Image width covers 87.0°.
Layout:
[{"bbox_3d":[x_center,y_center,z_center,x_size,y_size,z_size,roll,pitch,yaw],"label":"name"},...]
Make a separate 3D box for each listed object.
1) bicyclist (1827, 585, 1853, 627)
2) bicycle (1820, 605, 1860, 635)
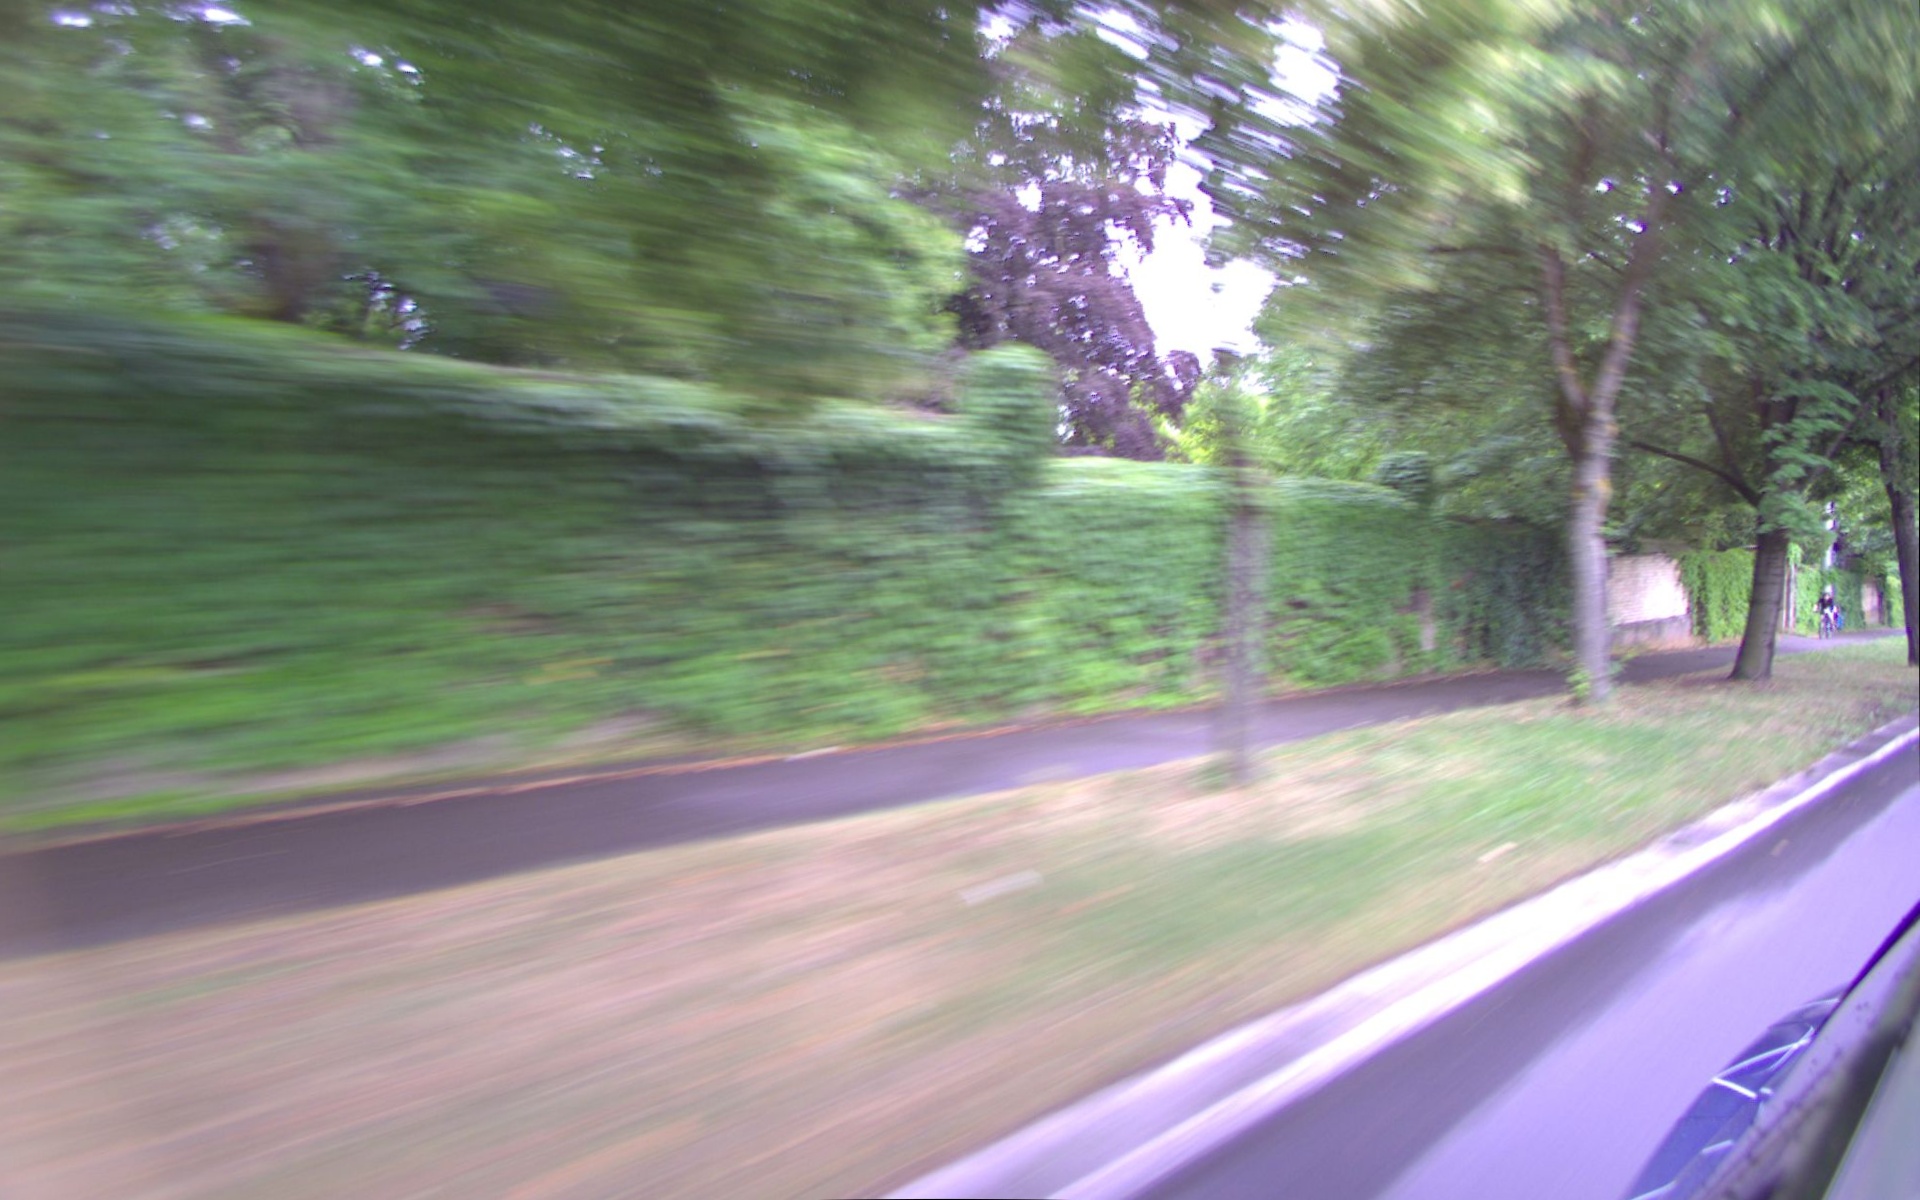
[{"bbox_3d":[29.938,0.205,34.423,0.654,1.407,0.536,0,1,-39],"label":"bicyclist"},{"bbox_3d":[29.913,0.678,34.386,2.503,0.960,0.544,0,2,-39],"label":"bicycle"}]
